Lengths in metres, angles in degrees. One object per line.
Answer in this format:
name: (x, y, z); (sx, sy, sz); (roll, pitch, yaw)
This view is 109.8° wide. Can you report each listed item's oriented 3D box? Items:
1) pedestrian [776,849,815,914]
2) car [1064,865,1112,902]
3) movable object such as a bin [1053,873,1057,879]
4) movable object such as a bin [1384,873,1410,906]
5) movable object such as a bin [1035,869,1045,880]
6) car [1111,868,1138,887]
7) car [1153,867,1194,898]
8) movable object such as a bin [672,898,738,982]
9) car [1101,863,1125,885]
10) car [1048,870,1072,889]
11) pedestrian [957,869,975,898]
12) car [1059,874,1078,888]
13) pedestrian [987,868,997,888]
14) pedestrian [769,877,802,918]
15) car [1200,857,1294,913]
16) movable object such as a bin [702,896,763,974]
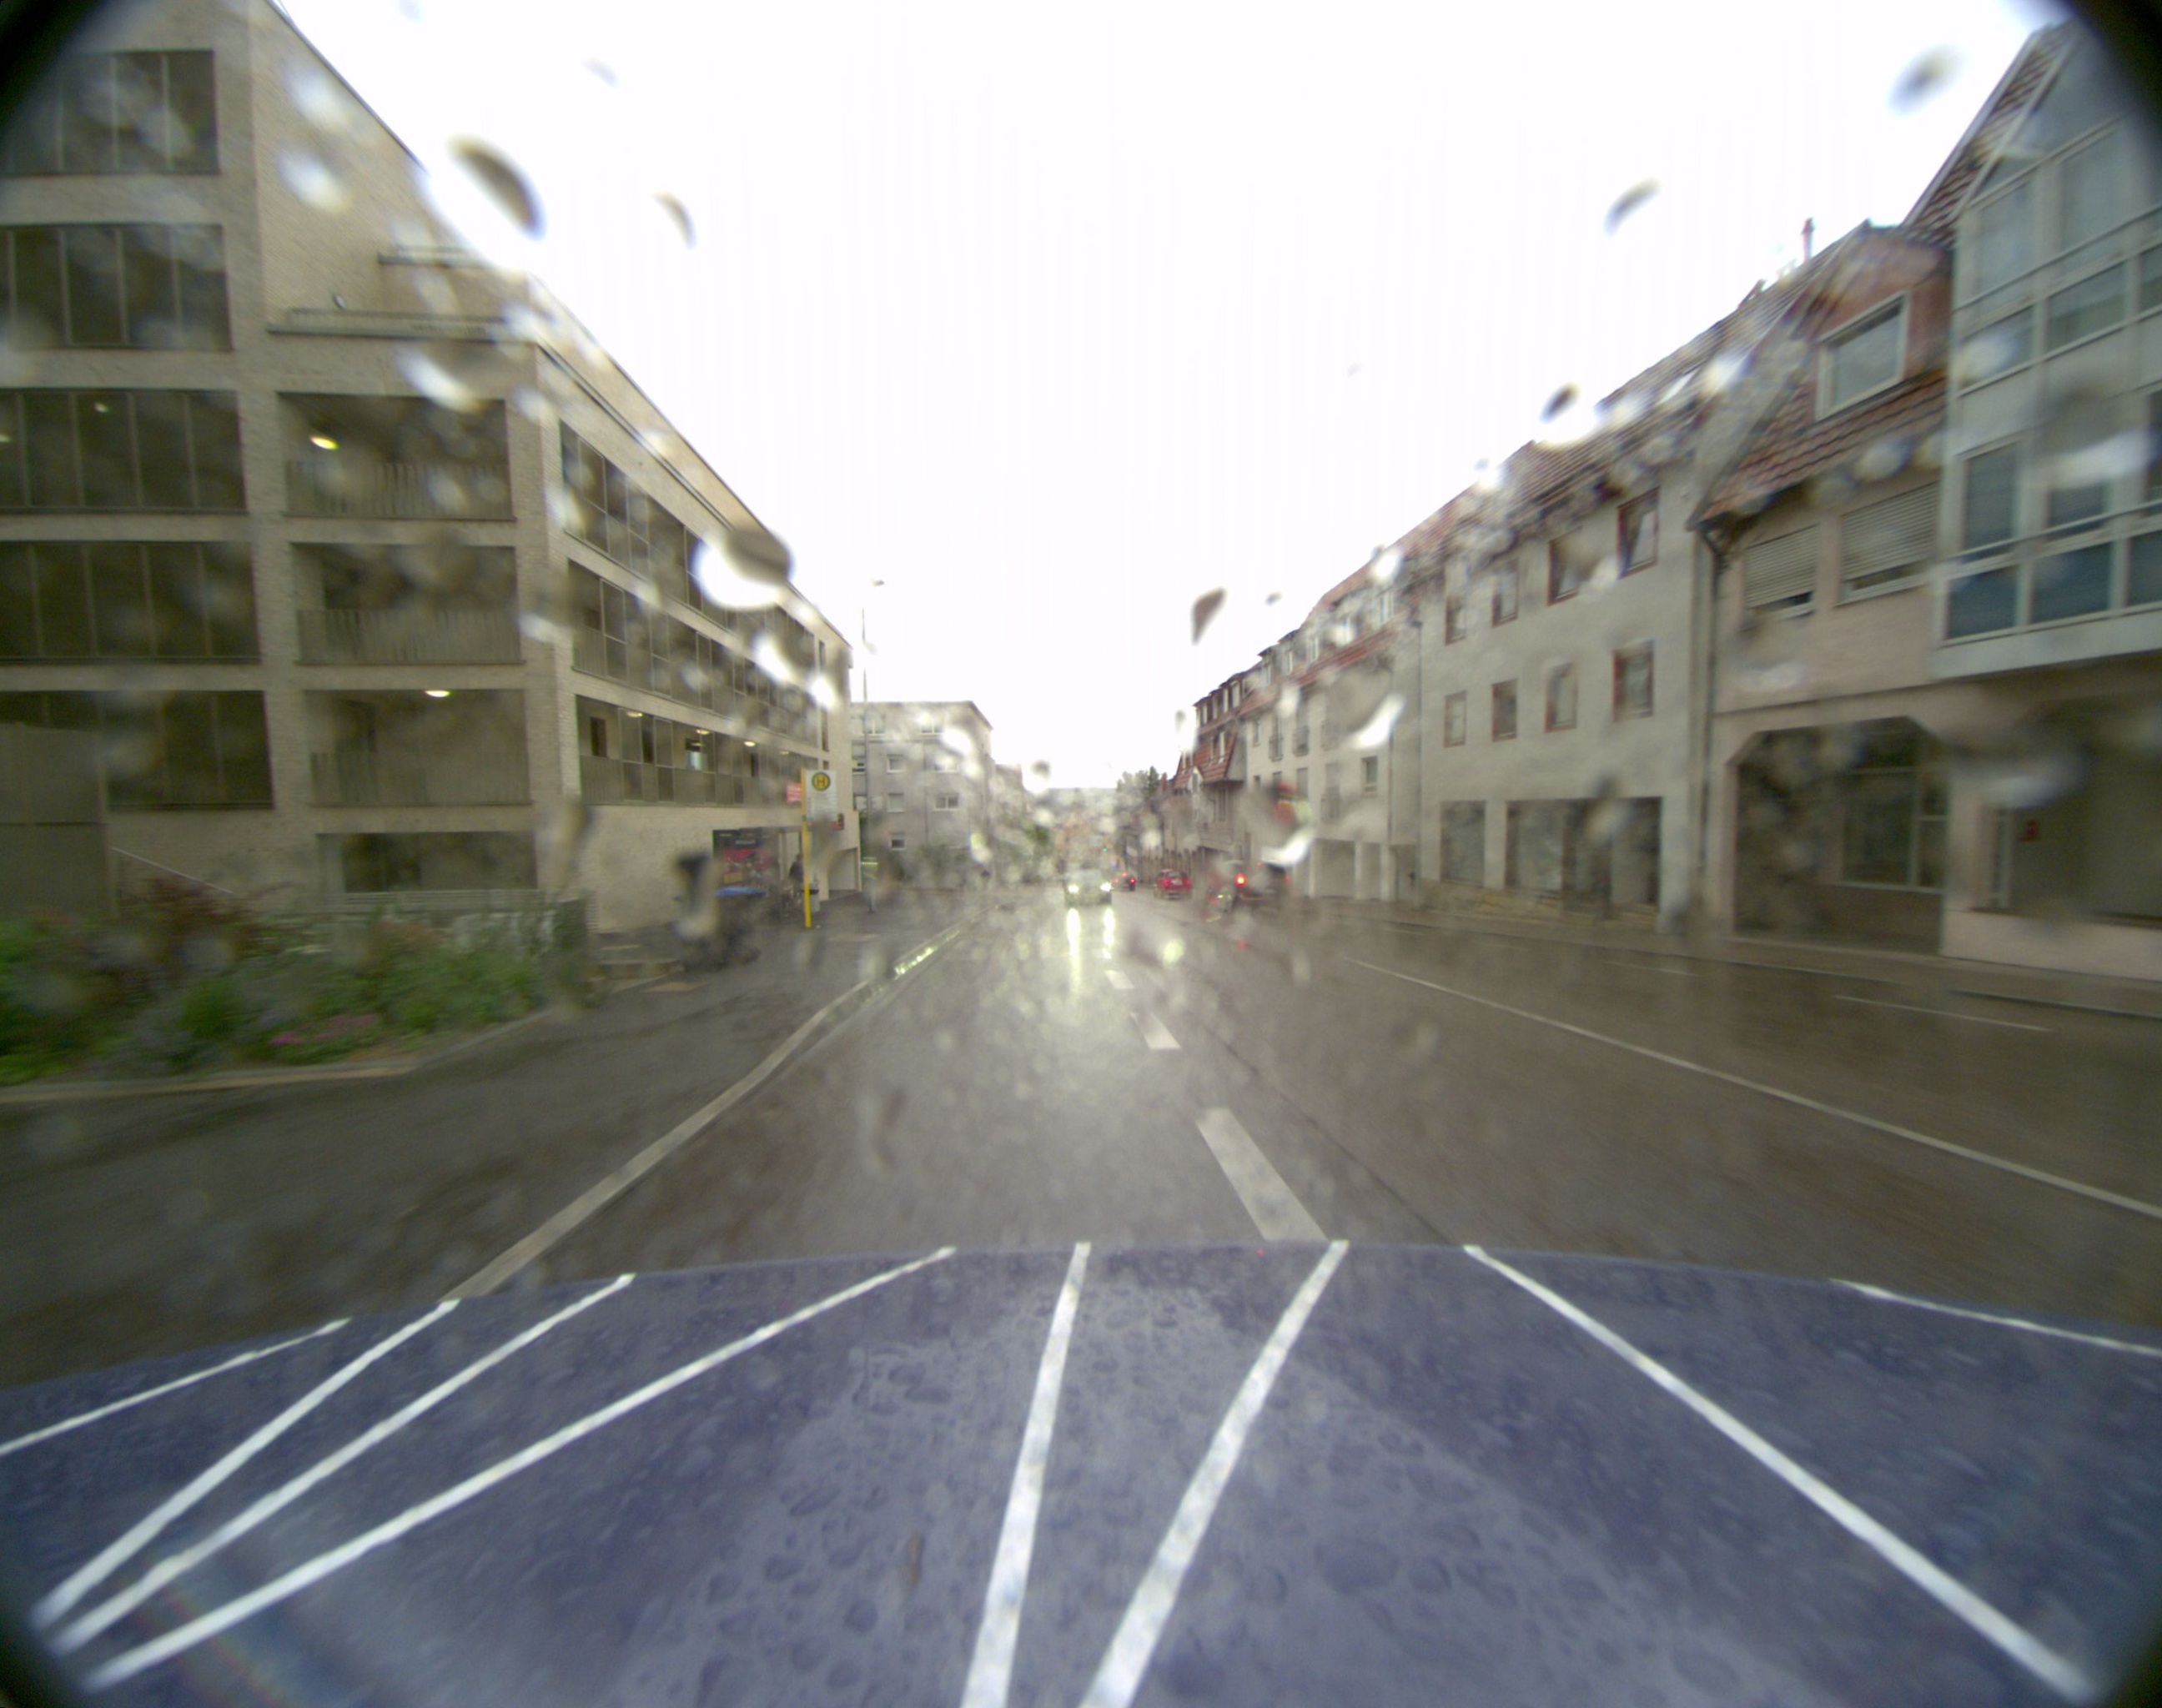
pedestrian: (-8.722, 0.837, 23.267); (0.784, 1.928, 1.021); (1, 0, -1)
car: (0.294, 1.286, 34.281); (1.967, 1.548, 4.623); (-1, -1, 0)
movable object such as a bin: (-3.931, 3.374, 116.646); (0.596, 1.022, 0.476); (1, -1, 1)
movable object such as a bin: (9.859, 1.106, 23.720); (0.509, 1.000, 0.585); (-1, -1, -5)
movable object such as a bin: (-5.313, 2.662, 98.427); (1.238, 1.327, 1.173); (0, -1, 1)
car: (3.457, 1.846, 60.448); (1.692, 1.435, 3.909); (-1, -1, -3)
car: (4.763, 1.433, 39.590); (1.563, 1.526, 3.448); (1, -1, -3)
movable object such as a bin: (-4.976, 1.122, 10.077); (0.597, 1.056, 0.579); (0, 0, -2)
car: (2.942, 1.846, 70.299); (1.936, 1.896, 5.043); (-1, -1, 0)
car: (-1.802, 2.242, 67.265); (1.967, 1.597, 4.385); (-1, -2, 0)
pedestrian: (-6.242, 1.577, 41.371); (0.737, 1.533, 1.038); (2, 0, 2)
car: (-1.359, 3.061, 86.031); (1.967, 1.597, 4.385); (-1, -2, 0)
pedestrian: (-6.734, 1.815, 57.493); (0.692, 1.546, 0.710); (-1, -1, -7)
pedestrian: (-8.525, 1.238, 21.929); (0.673, 1.155, 0.635); (1, 0, -1)
car: (5.219, 0.949, 24.472); (1.787, 1.620, 4.214); (-1, -1, -4)
movable object such as a bin: (-4.951, 1.135, 10.817); (0.597, 1.056, 0.579); (0, 0, -2)
